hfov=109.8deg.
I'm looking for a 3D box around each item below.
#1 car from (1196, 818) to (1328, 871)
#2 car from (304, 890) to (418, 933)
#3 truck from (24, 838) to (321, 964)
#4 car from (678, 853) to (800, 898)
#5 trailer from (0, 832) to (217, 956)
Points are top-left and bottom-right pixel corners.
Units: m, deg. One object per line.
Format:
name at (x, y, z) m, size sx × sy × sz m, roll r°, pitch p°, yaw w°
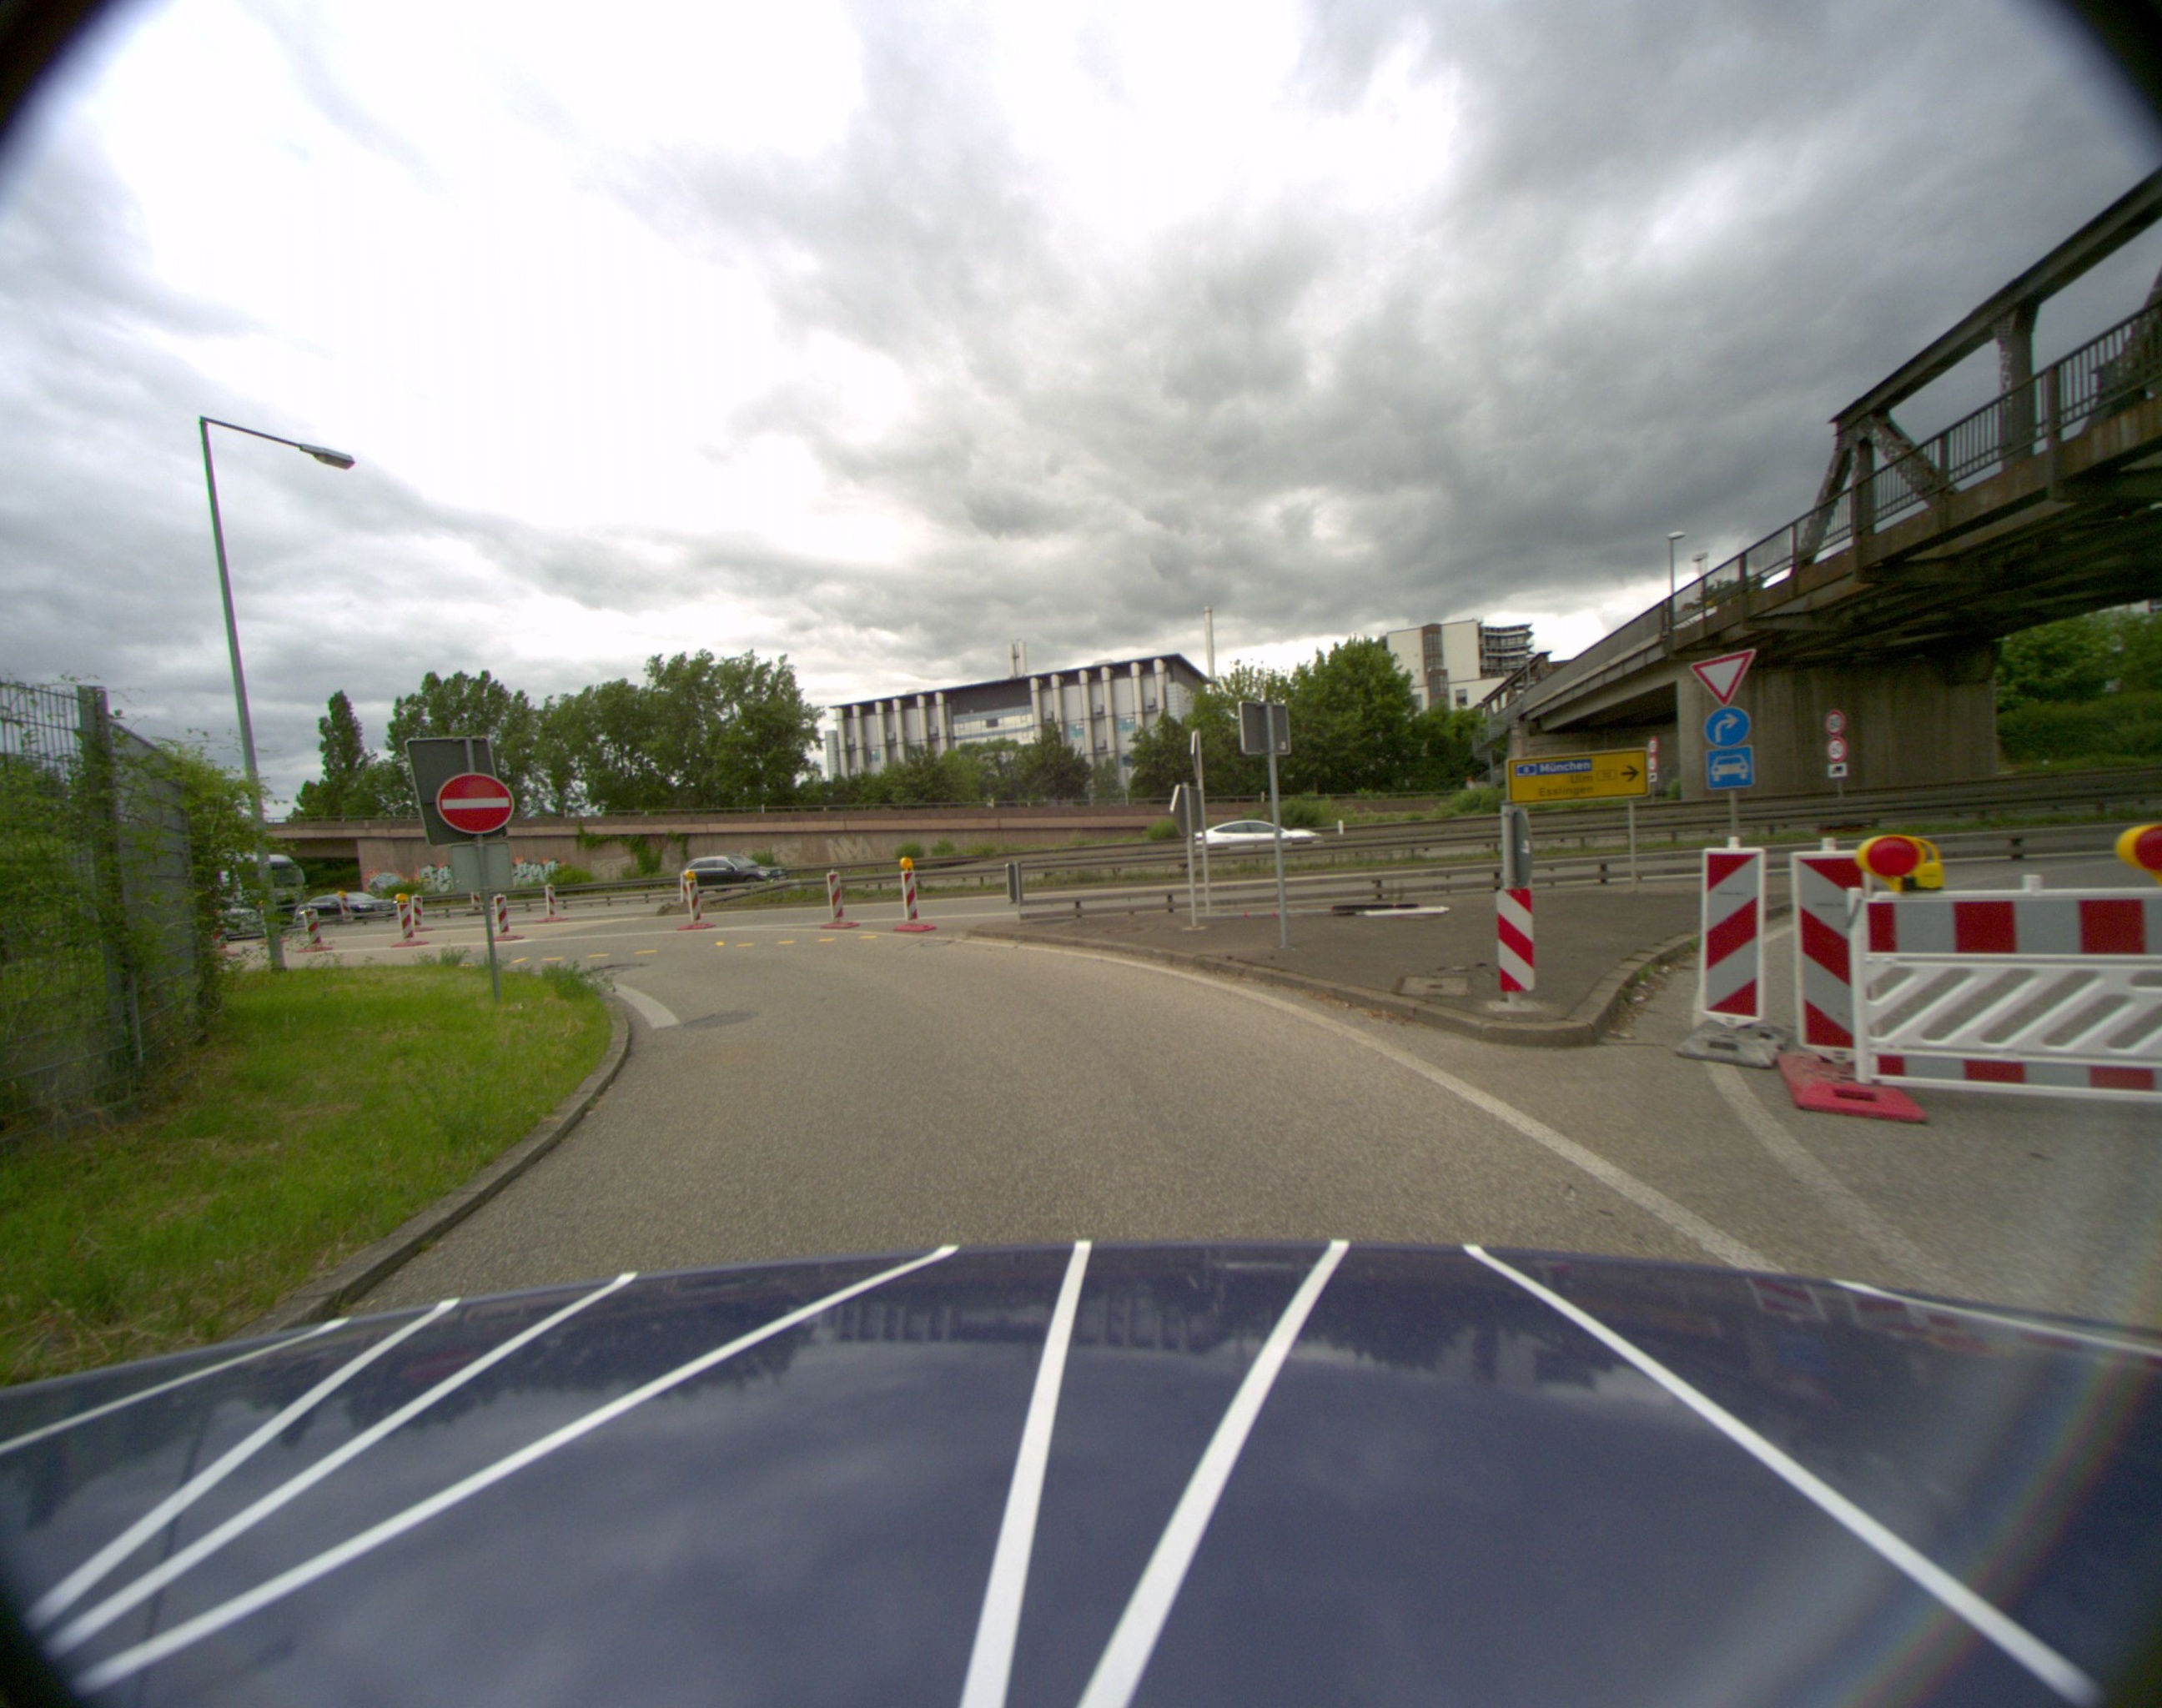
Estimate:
car at (6.567, -0.358, 27.802) m, size 4.452 × 1.534 × 2.000 m, roll -3°, pitch 5°, yaw 12°
car at (-35.331, 2.824, 37.318) m, size 3.994 × 1.694 × 1.938 m, roll -4°, pitch 2°, yaw 10°
truck at (-36.909, 1.830, 31.119) m, size 8.132 × 4.110 × 3.162 m, roll -5°, pitch 5°, yaw 4°
car at (-14.621, 0.902, 32.577) m, size 4.285 × 1.503 × 1.982 m, roll -4°, pitch 2°, yaw 13°
trailer at (-44.267, 1.882, 31.669) m, size 13.249 × 4.302 × 3.165 m, roll -5°, pitch 4°, yaw 5°
